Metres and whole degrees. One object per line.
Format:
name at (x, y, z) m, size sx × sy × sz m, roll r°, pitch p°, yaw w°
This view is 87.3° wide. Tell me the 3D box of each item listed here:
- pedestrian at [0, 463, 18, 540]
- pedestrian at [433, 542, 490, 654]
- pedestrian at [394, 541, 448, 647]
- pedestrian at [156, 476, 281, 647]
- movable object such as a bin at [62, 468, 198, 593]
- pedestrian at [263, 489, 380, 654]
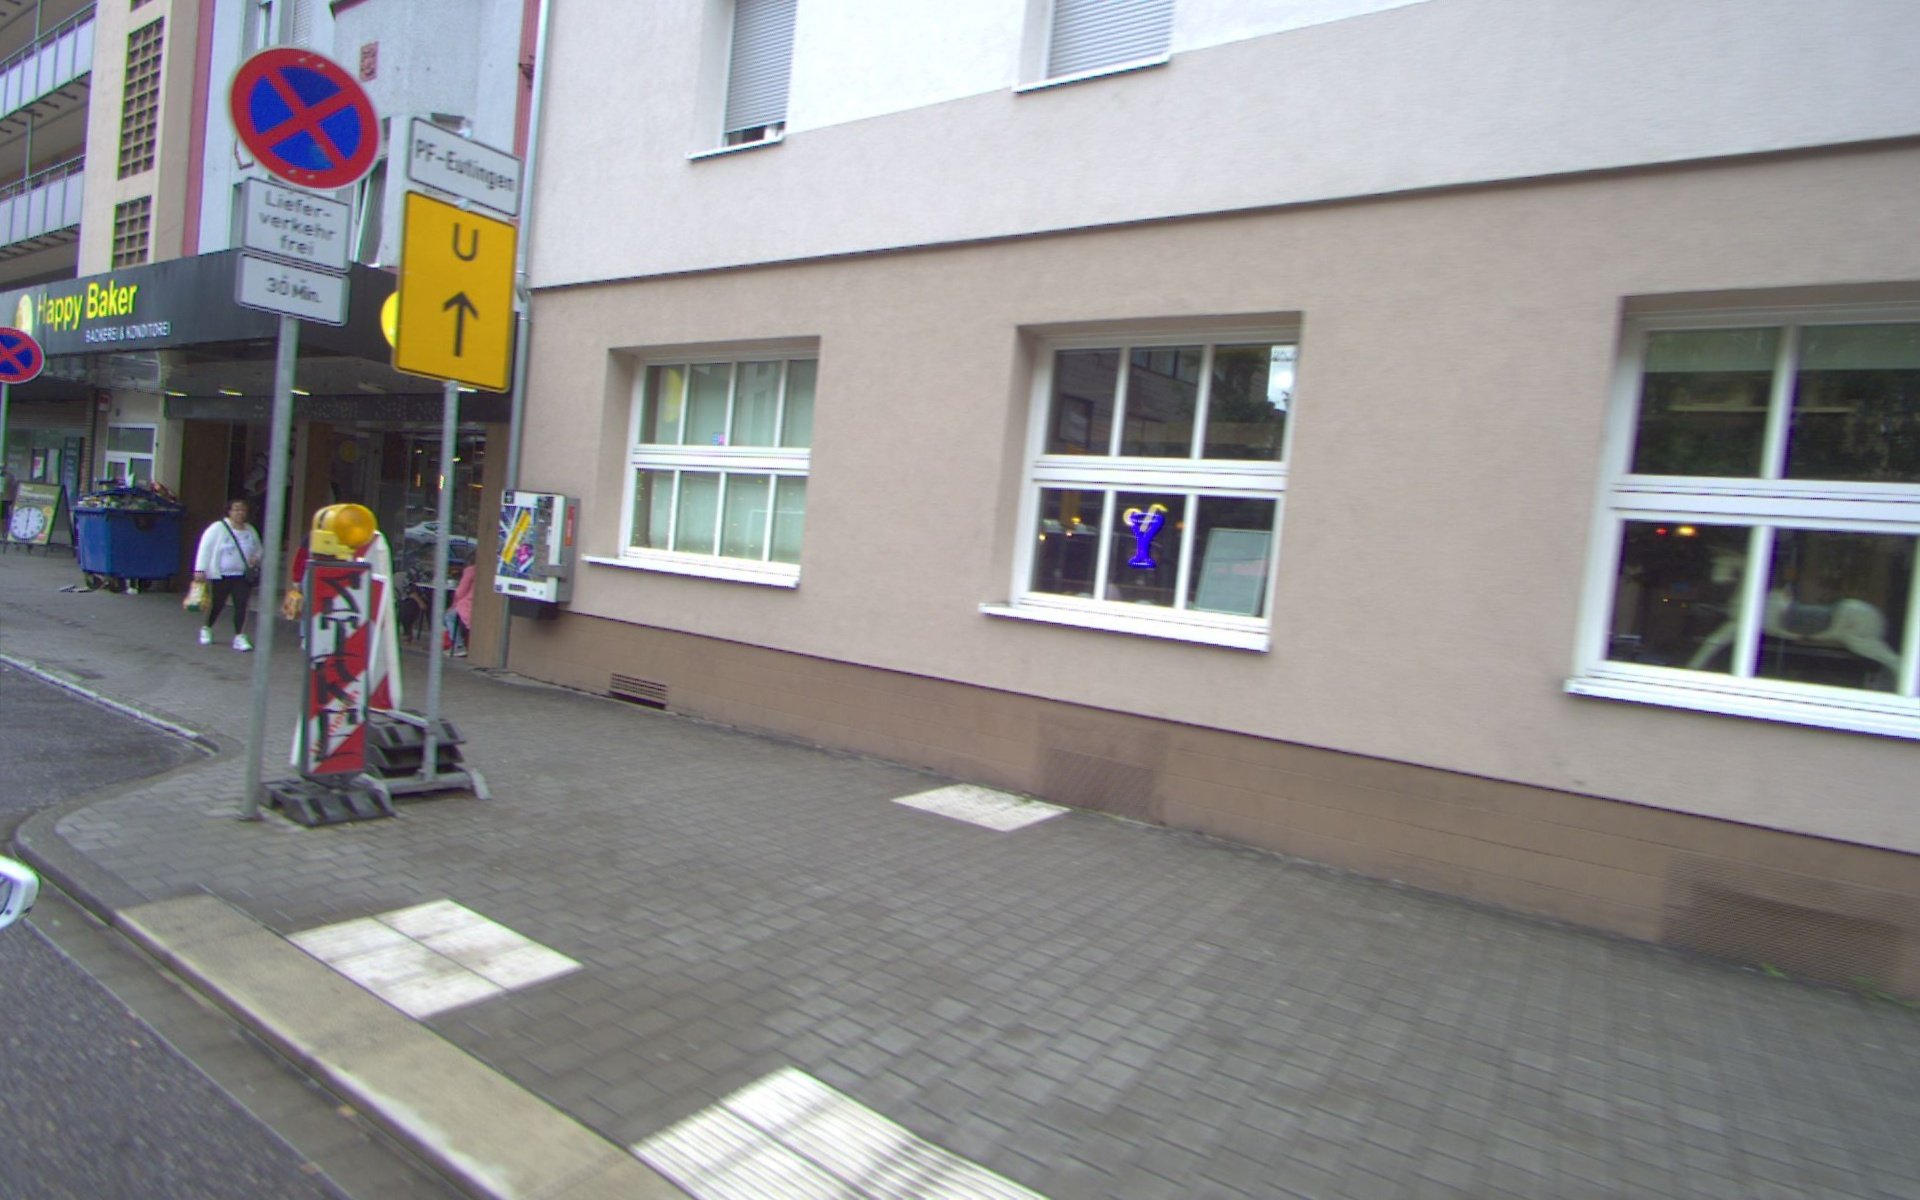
pedestrian at (-21.606, -2.214, 22.462) m, size 0.744 × 1.680 × 0.614 m, roll 4°, pitch -2°, yaw 39°
pedestrian at (-5.644, -0.025, 11.395) m, size 0.351 × 1.220 × 0.412 m, roll 8°, pitch 5°, yaw 35°
pedestrian at (-6.457, -0.075, 12.052) m, size 0.351 × 1.220 × 0.412 m, roll 8°, pitch 5°, yaw 35°
pedestrian at (-7.839, -0.391, 10.641) m, size 0.825 × 1.680 × 0.748 m, roll 4°, pitch -2°, yaw 39°
movable object such as a bin at (-12.376, -1.020, 15.008) m, size 1.410 × 1.725 × 1.122 m, roll 4°, pitch 2°, yaw 31°
pedestrian at (-6.970, -0.303, 10.987) m, size 0.744 × 1.680 × 0.749 m, roll 4°, pitch -2°, yaw 39°
